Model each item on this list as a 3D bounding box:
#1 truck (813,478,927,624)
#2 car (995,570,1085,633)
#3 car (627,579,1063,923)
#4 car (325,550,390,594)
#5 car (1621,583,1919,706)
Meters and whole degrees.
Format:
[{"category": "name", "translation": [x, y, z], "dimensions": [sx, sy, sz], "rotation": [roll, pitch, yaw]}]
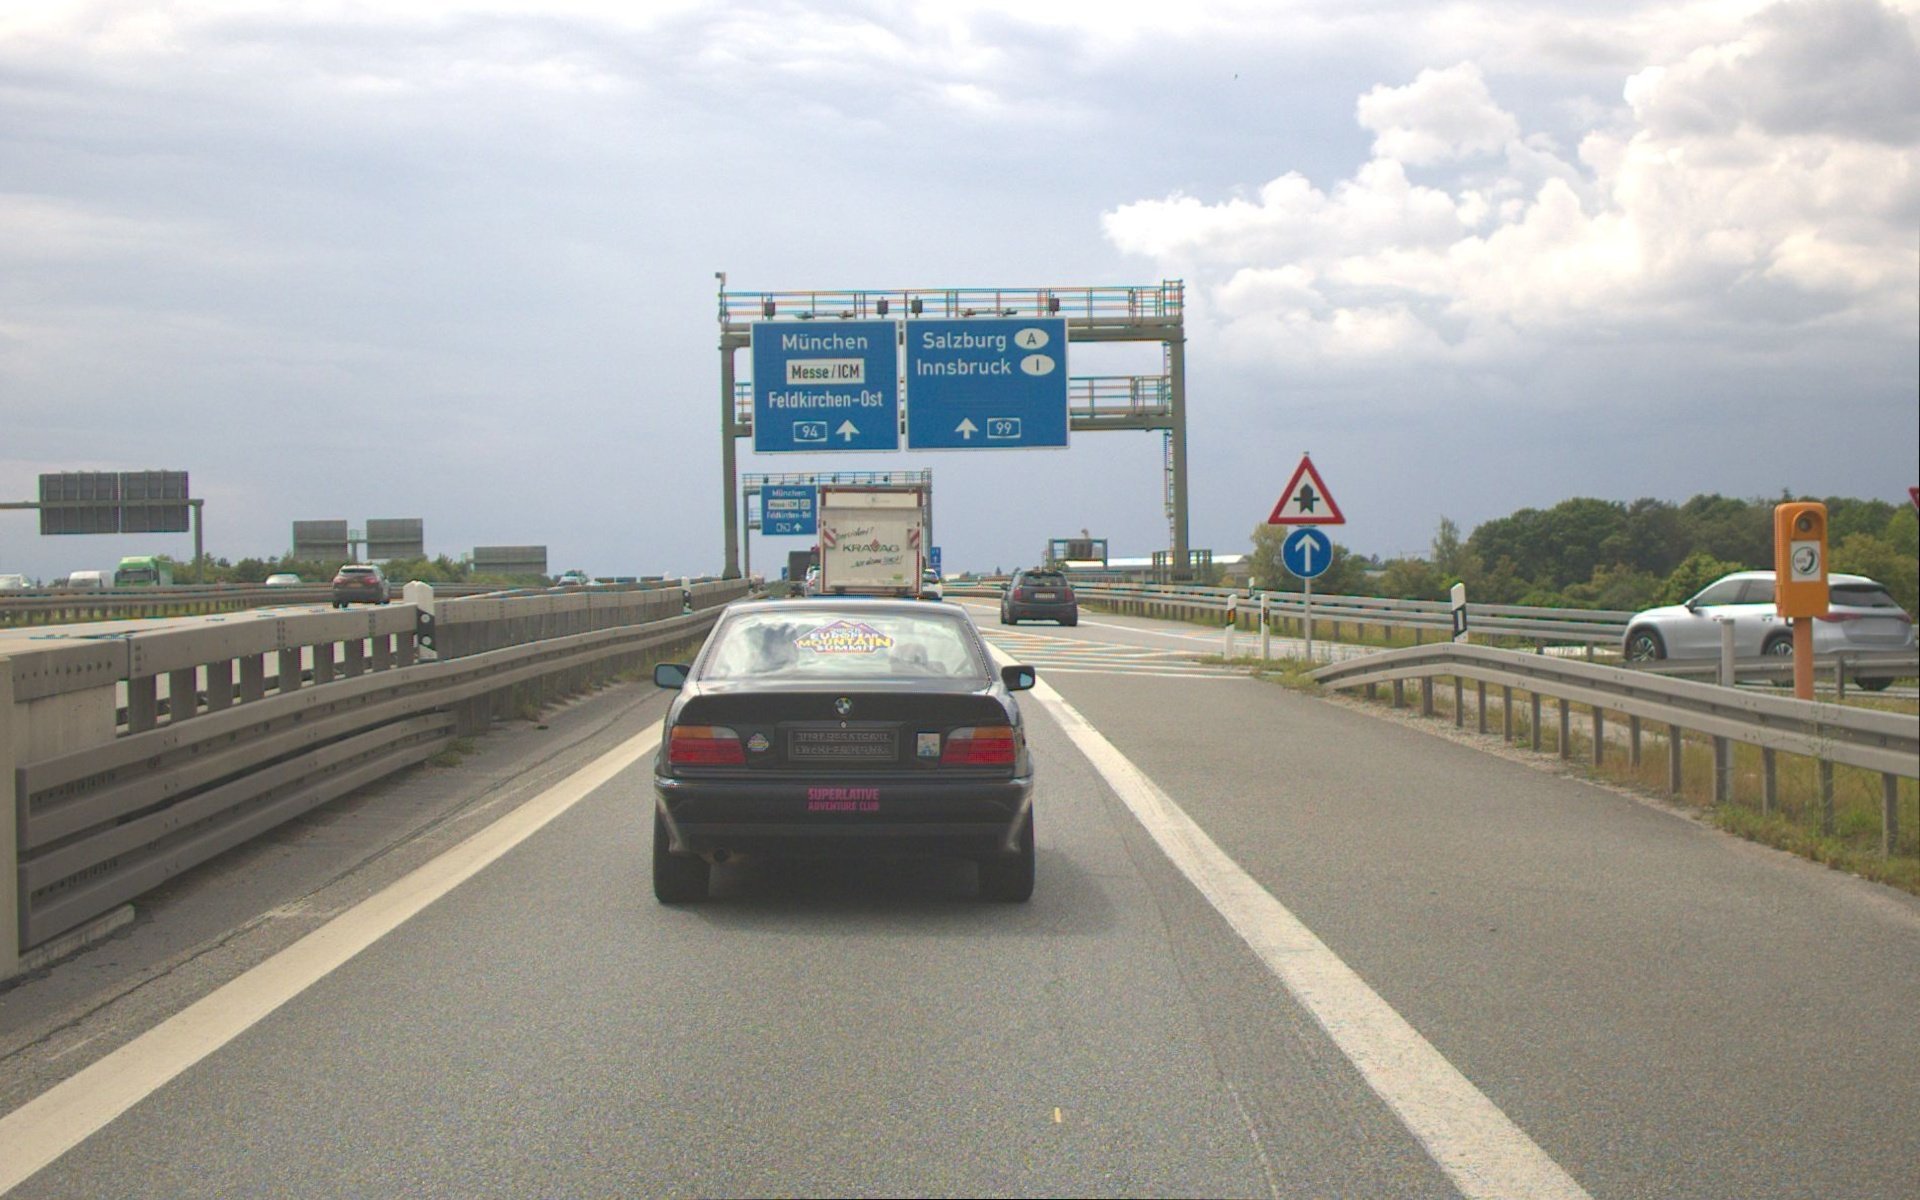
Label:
[{"category": "truck", "translation": [-2.010, -1.084, 76.042], "dimensions": [2.404, 3.079, 6.371], "rotation": [0, 1, -2]}, {"category": "car", "translation": [1.992, 0.019, 87.028], "dimensions": [1.993, 1.547, 4.000], "rotation": [1, 0, -2]}, {"category": "car", "translation": [-0.472, 0.606, 16.154], "dimensions": [1.782, 1.373, 4.137], "rotation": [0, 1, 0]}, {"category": "car", "translation": [-22.398, -1.054, 127.952], "dimensions": [1.892, 1.592, 4.418], "rotation": [0, 1, -3]}, {"category": "car", "translation": [11.664, 0.602, 49.209], "dimensions": [1.936, 1.679, 4.208], "rotation": [0, 0, -33]}]
